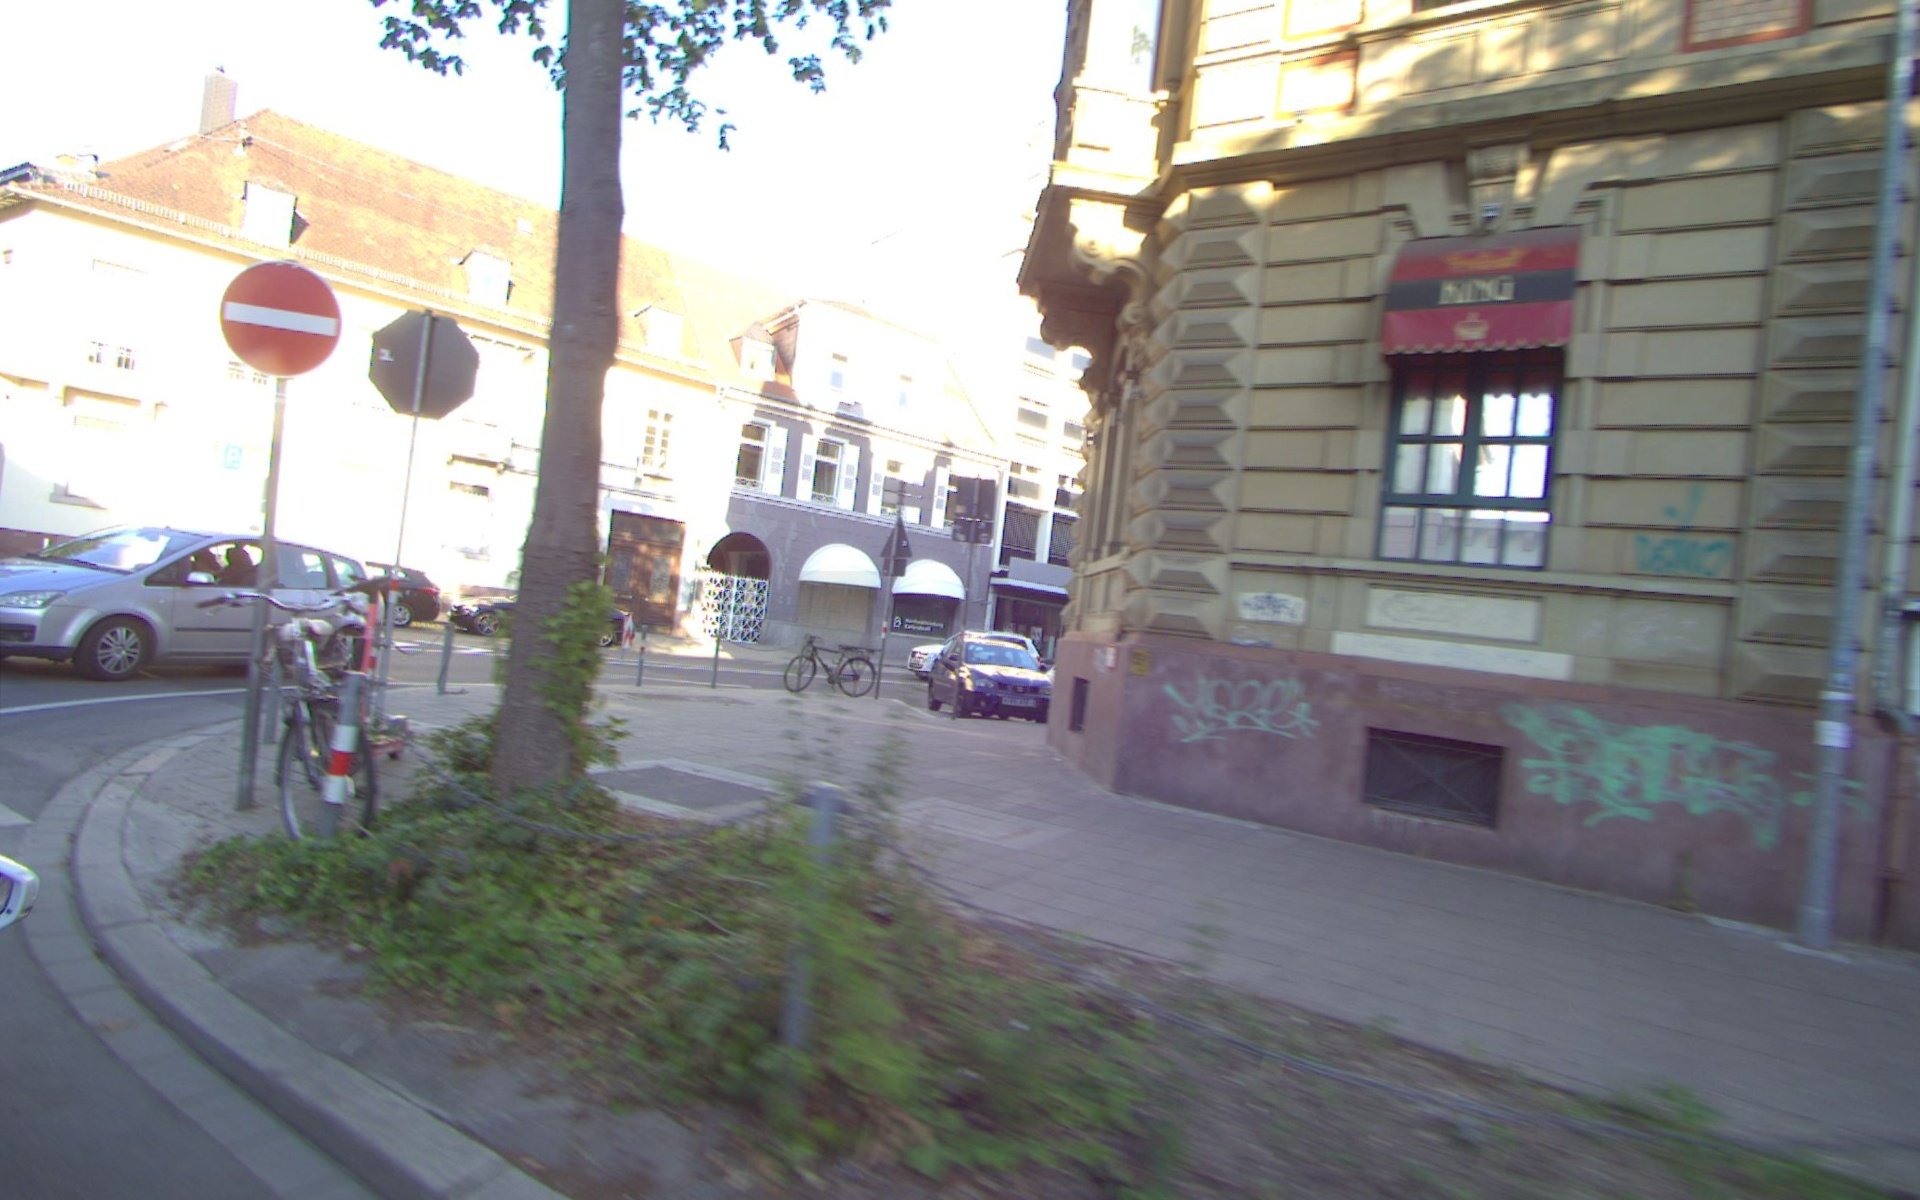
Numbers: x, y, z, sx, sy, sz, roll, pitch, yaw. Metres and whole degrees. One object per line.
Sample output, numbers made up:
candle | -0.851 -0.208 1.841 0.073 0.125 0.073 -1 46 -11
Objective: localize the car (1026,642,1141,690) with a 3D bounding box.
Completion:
car | 4.725 2.530 38.348 4.145 1.386 1.759 8 -1 -35

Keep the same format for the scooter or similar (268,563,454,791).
scooter or similar | -3.753 0.451 6.406 0.498 1.258 1.272 7 -1 -11

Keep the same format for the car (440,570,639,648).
car | -10.994 0.264 26.431 4.477 1.386 1.758 8 1 -35

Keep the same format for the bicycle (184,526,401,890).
bicycle | -3.002 0.406 4.480 1.271 1.389 0.416 6 0 43

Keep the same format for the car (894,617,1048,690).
car | 0.361 1.616 30.029 4.167 1.675 1.878 8 -2 -36

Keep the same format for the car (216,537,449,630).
car | -14.634 -0.366 23.689 4.381 1.561 1.851 8 -1 -33

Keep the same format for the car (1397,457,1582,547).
car | 12.645 -2.276 24.373 1.749 1.559 4.133 7 -1 -8

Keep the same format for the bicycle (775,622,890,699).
bicycle | -2.258 1.058 17.735 1.805 1.148 0.826 7 -2 -16

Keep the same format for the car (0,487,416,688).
car | -8.369 -0.068 10.824 1.850 1.673 4.357 7 -2 13

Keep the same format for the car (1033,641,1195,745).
car | 2.950 1.771 20.520 1.953 1.475 4.987 7 -1 -6

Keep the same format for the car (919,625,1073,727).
car | 0.497 1.354 17.861 1.684 1.427 4.280 7 -5 -11
